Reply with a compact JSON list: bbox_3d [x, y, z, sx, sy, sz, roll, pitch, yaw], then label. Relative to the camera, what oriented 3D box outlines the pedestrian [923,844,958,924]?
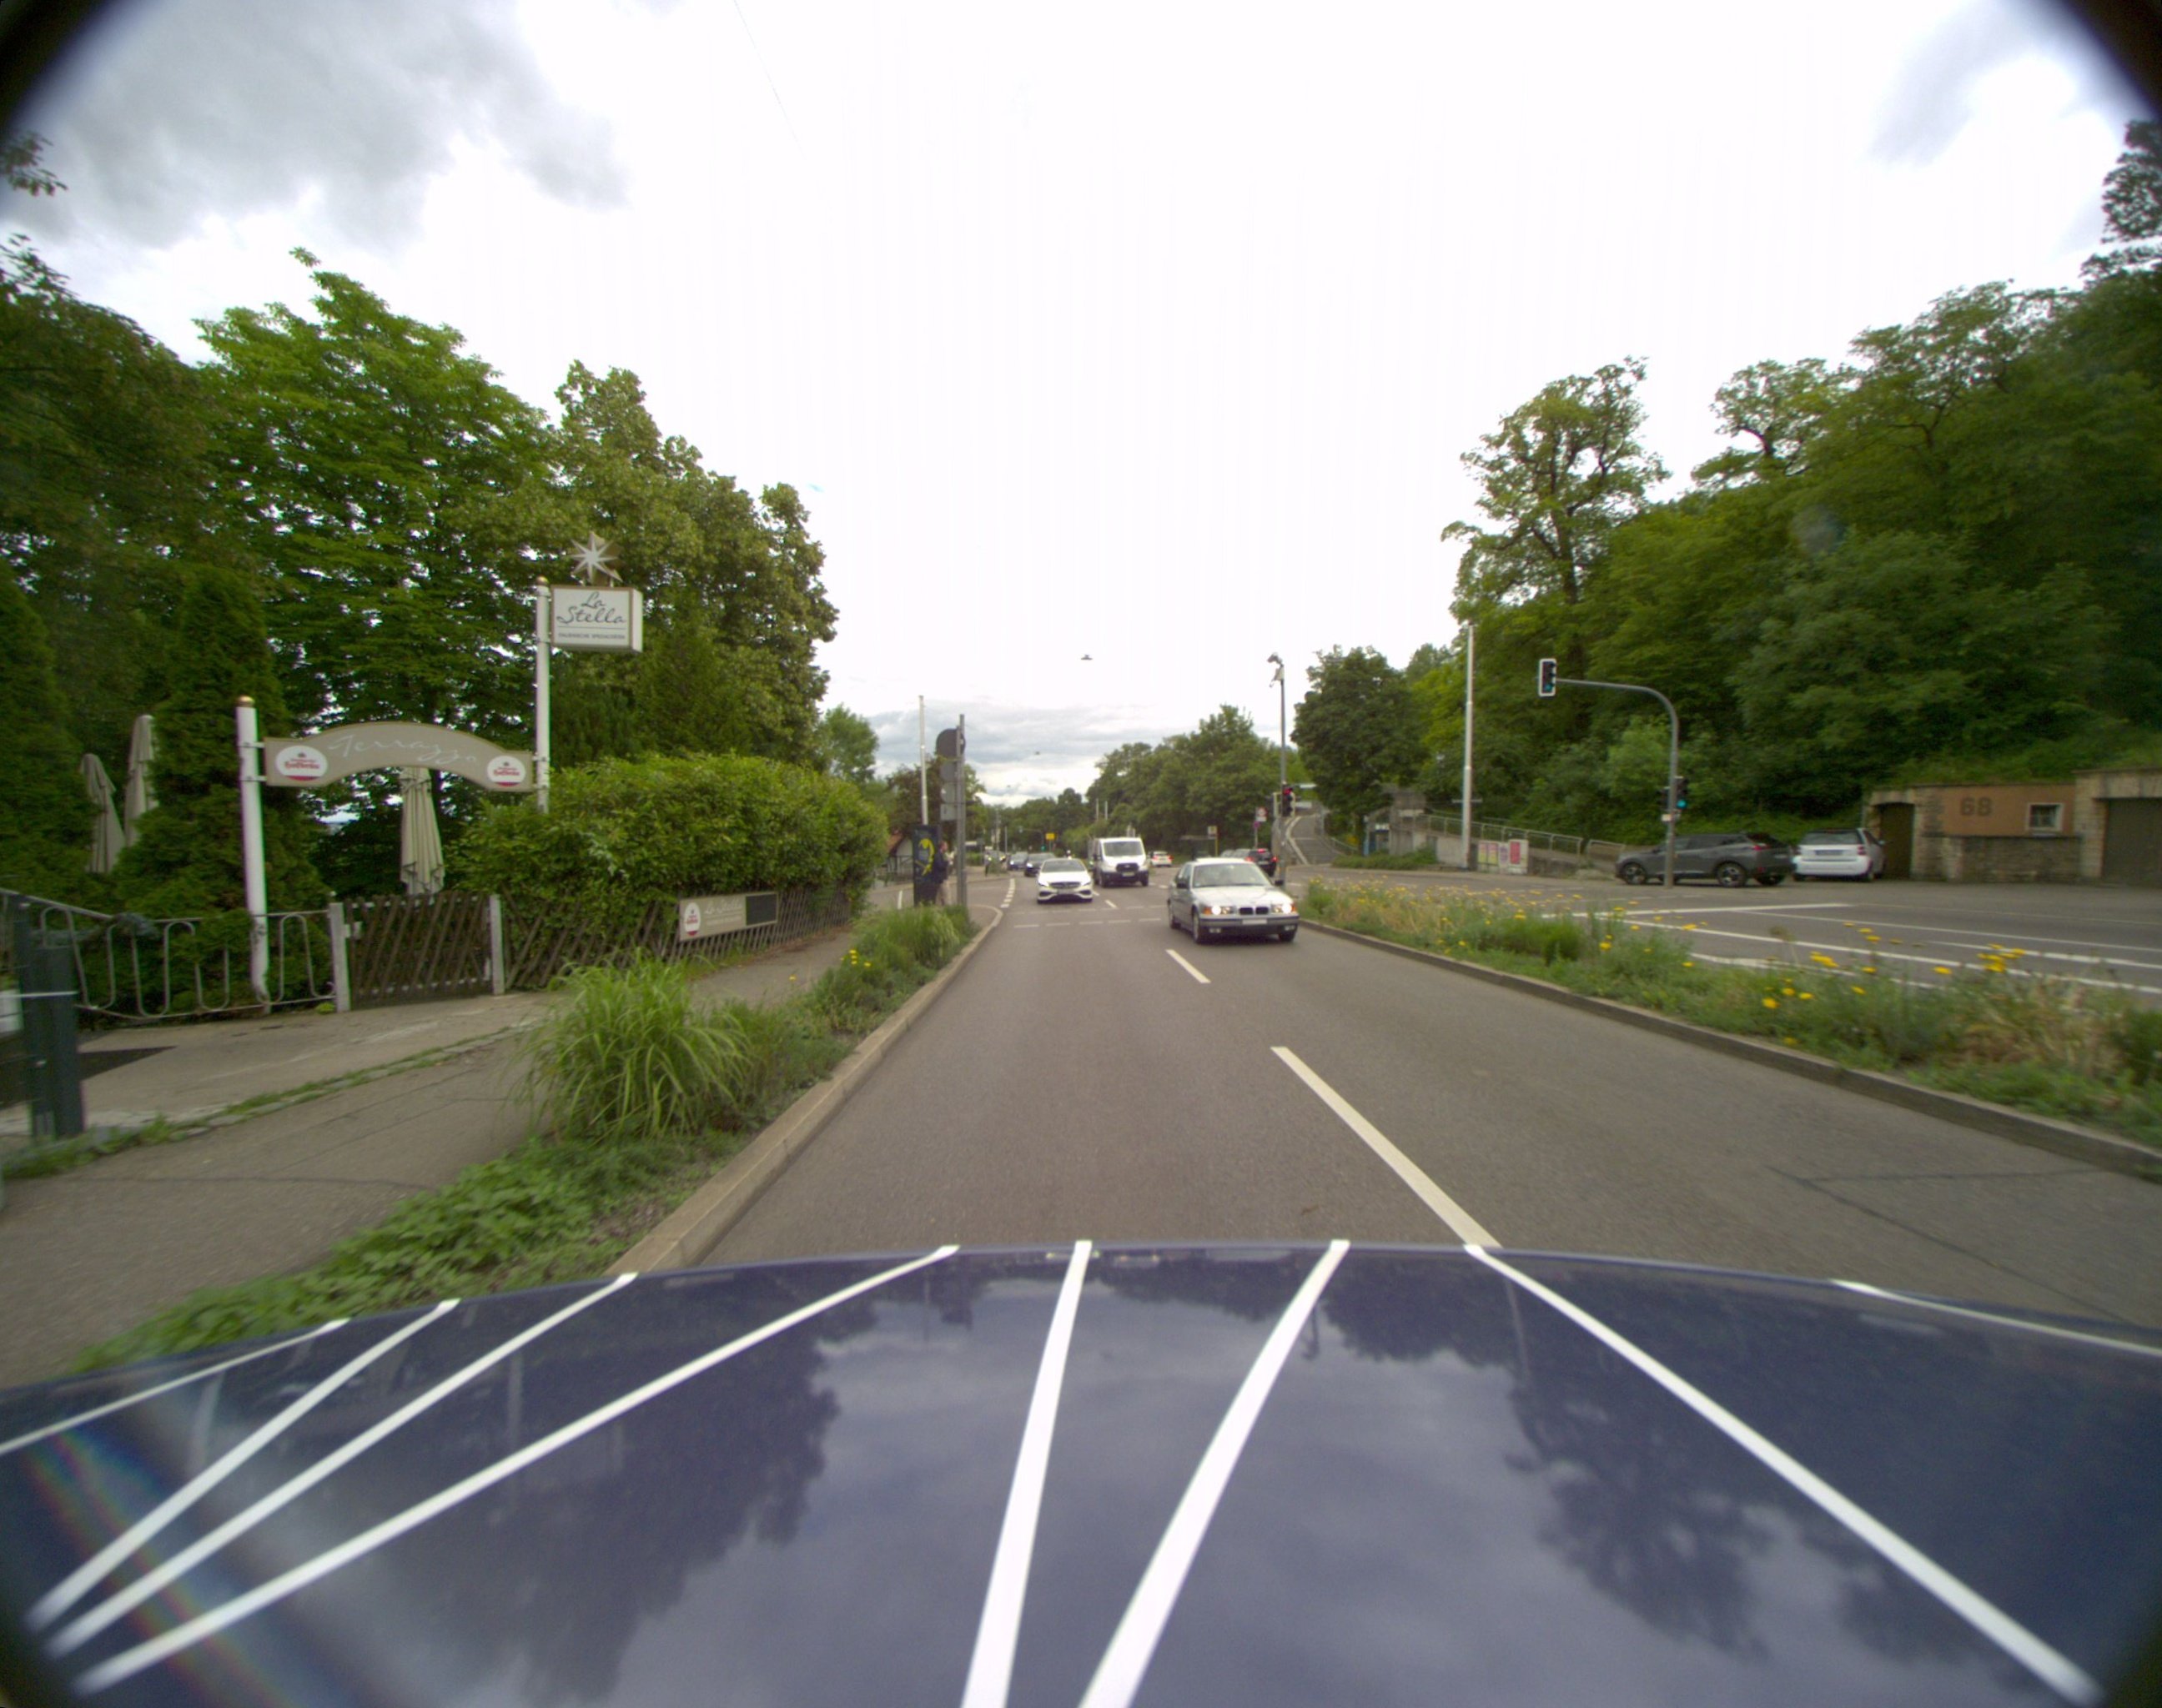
[{"bbox_3d":[-3.335,0.694,18.036,0.696,1.823,0.619,-3,1,-16],"label":"pedestrian"}]

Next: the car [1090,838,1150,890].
[{"bbox_3d":[1.658,0.373,35.081,2.253,2.114,6.667,-1,1,-1],"label":"car"}]

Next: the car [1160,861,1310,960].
[{"bbox_3d":[2.619,0.898,14.056,1.757,1.385,4.614,-2,1,-1],"label":"car"}]

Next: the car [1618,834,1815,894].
[{"bbox_3d":[18.105,0.249,21.899,1.600,1.531,4.126,-1,1,-20],"label":"car"}]

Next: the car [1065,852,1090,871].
[{"bbox_3d":[-0.332,0.583,63.243,1.678,1.532,4.550,0,0,-6],"label":"car"}]

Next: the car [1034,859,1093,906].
[{"bbox_3d":[-0.585,0.909,25.624,1.807,1.385,4.283,0,0,-1],"label":"car"}]

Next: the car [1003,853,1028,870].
[{"bbox_3d":[-5.979,0.657,68.655,1.809,1.385,4.279,-1,1,-11],"label":"car"}]

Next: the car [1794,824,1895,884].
[{"bbox_3d":[22.248,-0.022,22.119,2.715,1.512,1.560,-5,3,-33],"label":"car"}]

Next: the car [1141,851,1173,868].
[{"bbox_3d":[6.717,0.453,67.305,1.657,1.385,4.139,-4,1,-11],"label":"car"}]

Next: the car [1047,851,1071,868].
[{"bbox_3d":[-2.173,0.479,72.634,1.679,1.532,4.610,0,1,-10],"label":"car"}]

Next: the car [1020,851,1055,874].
[{"bbox_3d":[-3.021,0.553,52.003,1.679,1.532,4.609,0,1,-12],"label":"car"}]

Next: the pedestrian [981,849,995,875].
[{"bbox_3d":[-6.130,0.496,50.126,0.693,1.679,0.621,1,2,21],"label":"pedestrian"}]

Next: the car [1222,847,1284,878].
[{"bbox_3d":[9.077,0.428,40.545,1.697,1.492,4.551,-2,1,-8],"label":"car"}]
